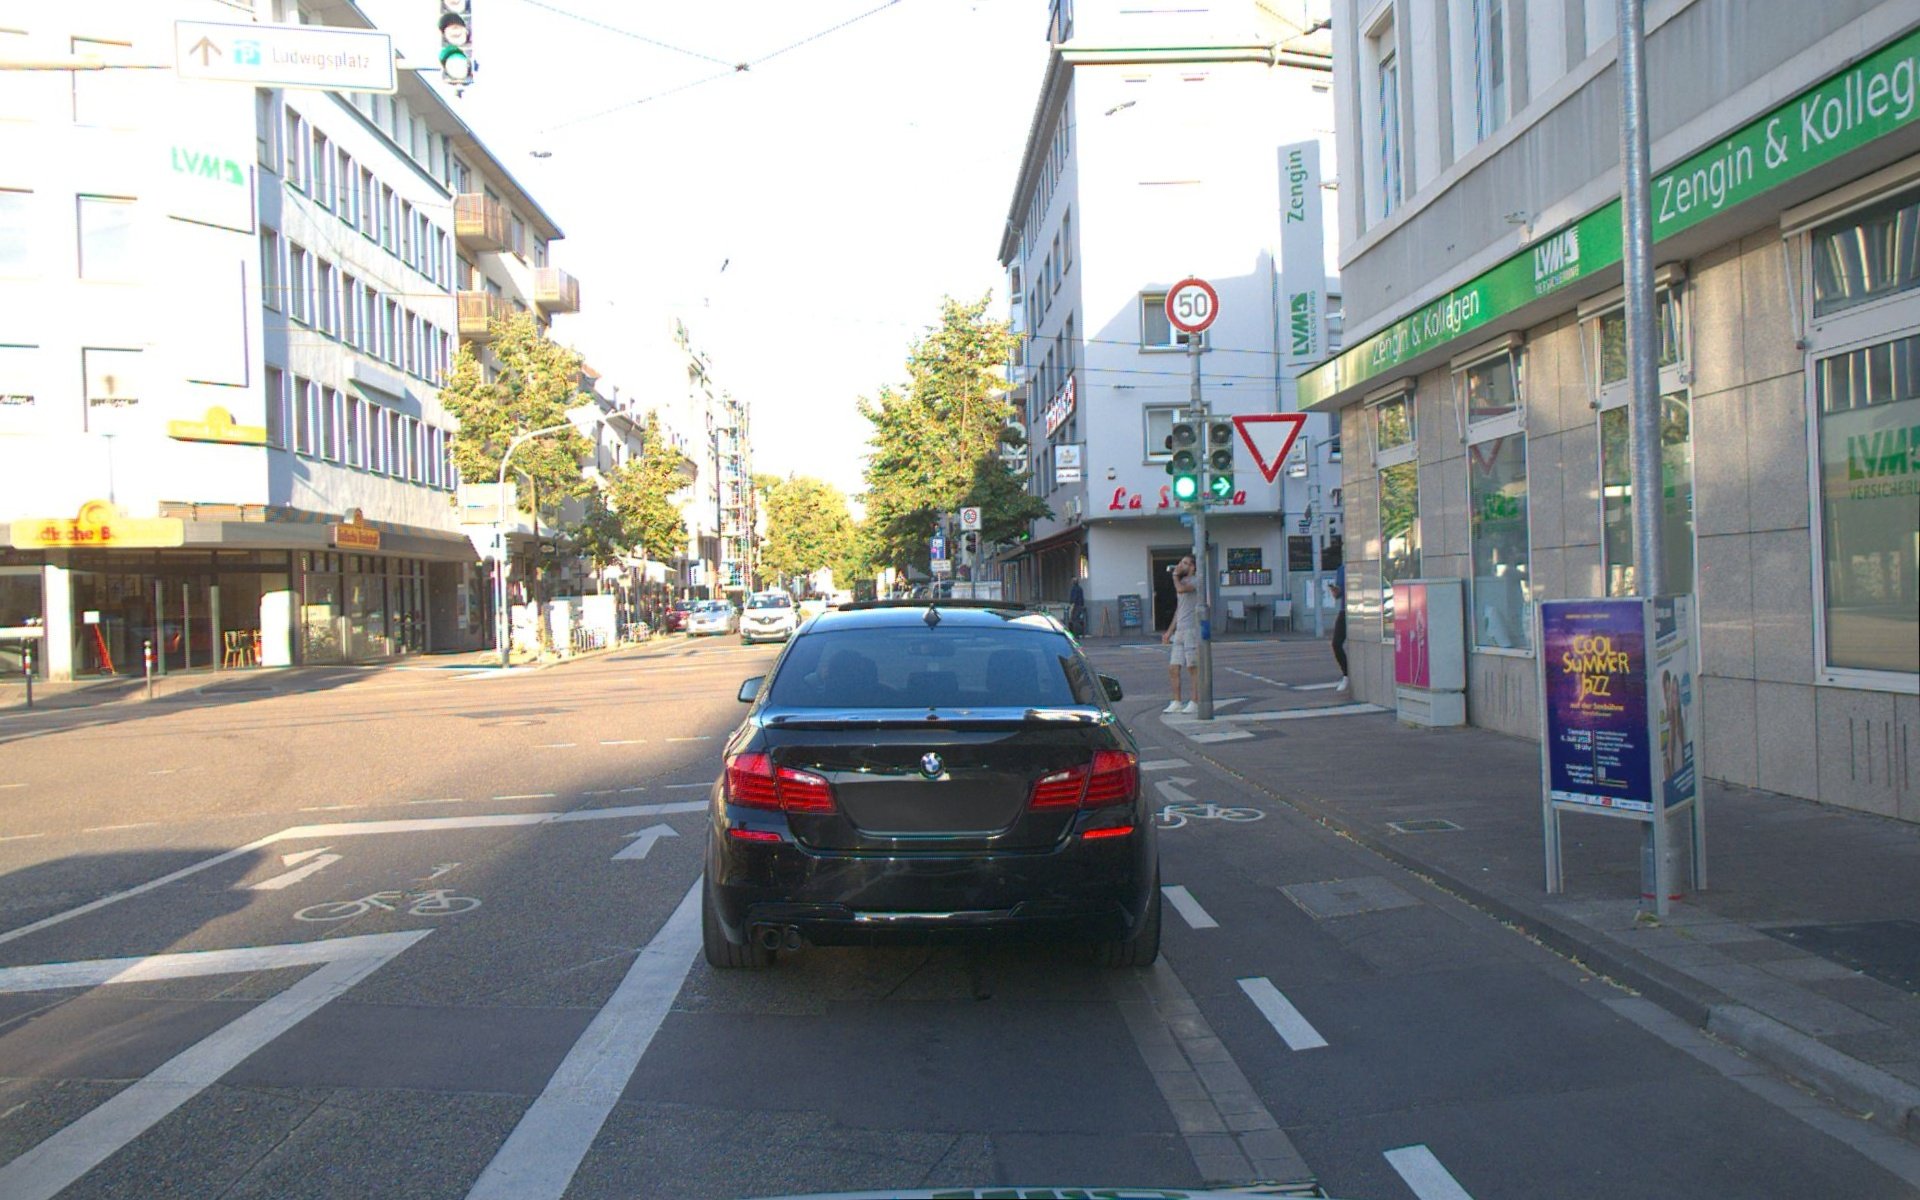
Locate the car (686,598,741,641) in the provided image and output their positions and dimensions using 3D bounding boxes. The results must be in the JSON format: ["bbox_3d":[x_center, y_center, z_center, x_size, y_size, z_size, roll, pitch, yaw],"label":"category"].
[{"bbox_3d":[-9.830,0.790,66.236,1.799,1.583,3.776,-3,0,-4],"label":"car"}]

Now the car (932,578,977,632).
[{"bbox_3d":[-0.199,0.167,61.235,1.606,1.906,3.607,1,1,0],"label":"car"}]

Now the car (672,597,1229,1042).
[{"bbox_3d":[-0.075,0.755,7.937,1.914,1.524,4.464,0,0,-1],"label":"car"}]

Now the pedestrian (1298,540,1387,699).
[{"bbox_3d":[4.651,0.228,20.138,0.859,1.859,0.693,-3,0,3],"label":"pedestrian"}]

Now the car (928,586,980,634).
[{"bbox_3d":[-0.182,0.326,54.555,1.606,1.469,3.607,-2,0,0],"label":"car"}]

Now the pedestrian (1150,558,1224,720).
[{"bbox_3d":[2.557,0.431,18.675,0.639,1.773,0.693,-2,0,-4],"label":"pedestrian"}]

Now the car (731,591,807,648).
[{"bbox_3d":[-5.846,0.602,51.117,2.067,1.583,4.009,-3,0,-4],"label":"car"}]

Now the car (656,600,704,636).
[{"bbox_3d":[-13.276,0.868,78.629,1.799,1.583,3.776,-3,0,-4],"label":"car"}]

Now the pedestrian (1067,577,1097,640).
[{"bbox_3d":[3.371,0.232,45.593,0.697,1.705,0.703,-2,0,-3],"label":"pedestrian"}]

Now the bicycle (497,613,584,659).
[{"bbox_3d":[-11.890,1.019,46.958,2.322,1.275,0.639,0,-1,-7],"label":"bicycle"}]
